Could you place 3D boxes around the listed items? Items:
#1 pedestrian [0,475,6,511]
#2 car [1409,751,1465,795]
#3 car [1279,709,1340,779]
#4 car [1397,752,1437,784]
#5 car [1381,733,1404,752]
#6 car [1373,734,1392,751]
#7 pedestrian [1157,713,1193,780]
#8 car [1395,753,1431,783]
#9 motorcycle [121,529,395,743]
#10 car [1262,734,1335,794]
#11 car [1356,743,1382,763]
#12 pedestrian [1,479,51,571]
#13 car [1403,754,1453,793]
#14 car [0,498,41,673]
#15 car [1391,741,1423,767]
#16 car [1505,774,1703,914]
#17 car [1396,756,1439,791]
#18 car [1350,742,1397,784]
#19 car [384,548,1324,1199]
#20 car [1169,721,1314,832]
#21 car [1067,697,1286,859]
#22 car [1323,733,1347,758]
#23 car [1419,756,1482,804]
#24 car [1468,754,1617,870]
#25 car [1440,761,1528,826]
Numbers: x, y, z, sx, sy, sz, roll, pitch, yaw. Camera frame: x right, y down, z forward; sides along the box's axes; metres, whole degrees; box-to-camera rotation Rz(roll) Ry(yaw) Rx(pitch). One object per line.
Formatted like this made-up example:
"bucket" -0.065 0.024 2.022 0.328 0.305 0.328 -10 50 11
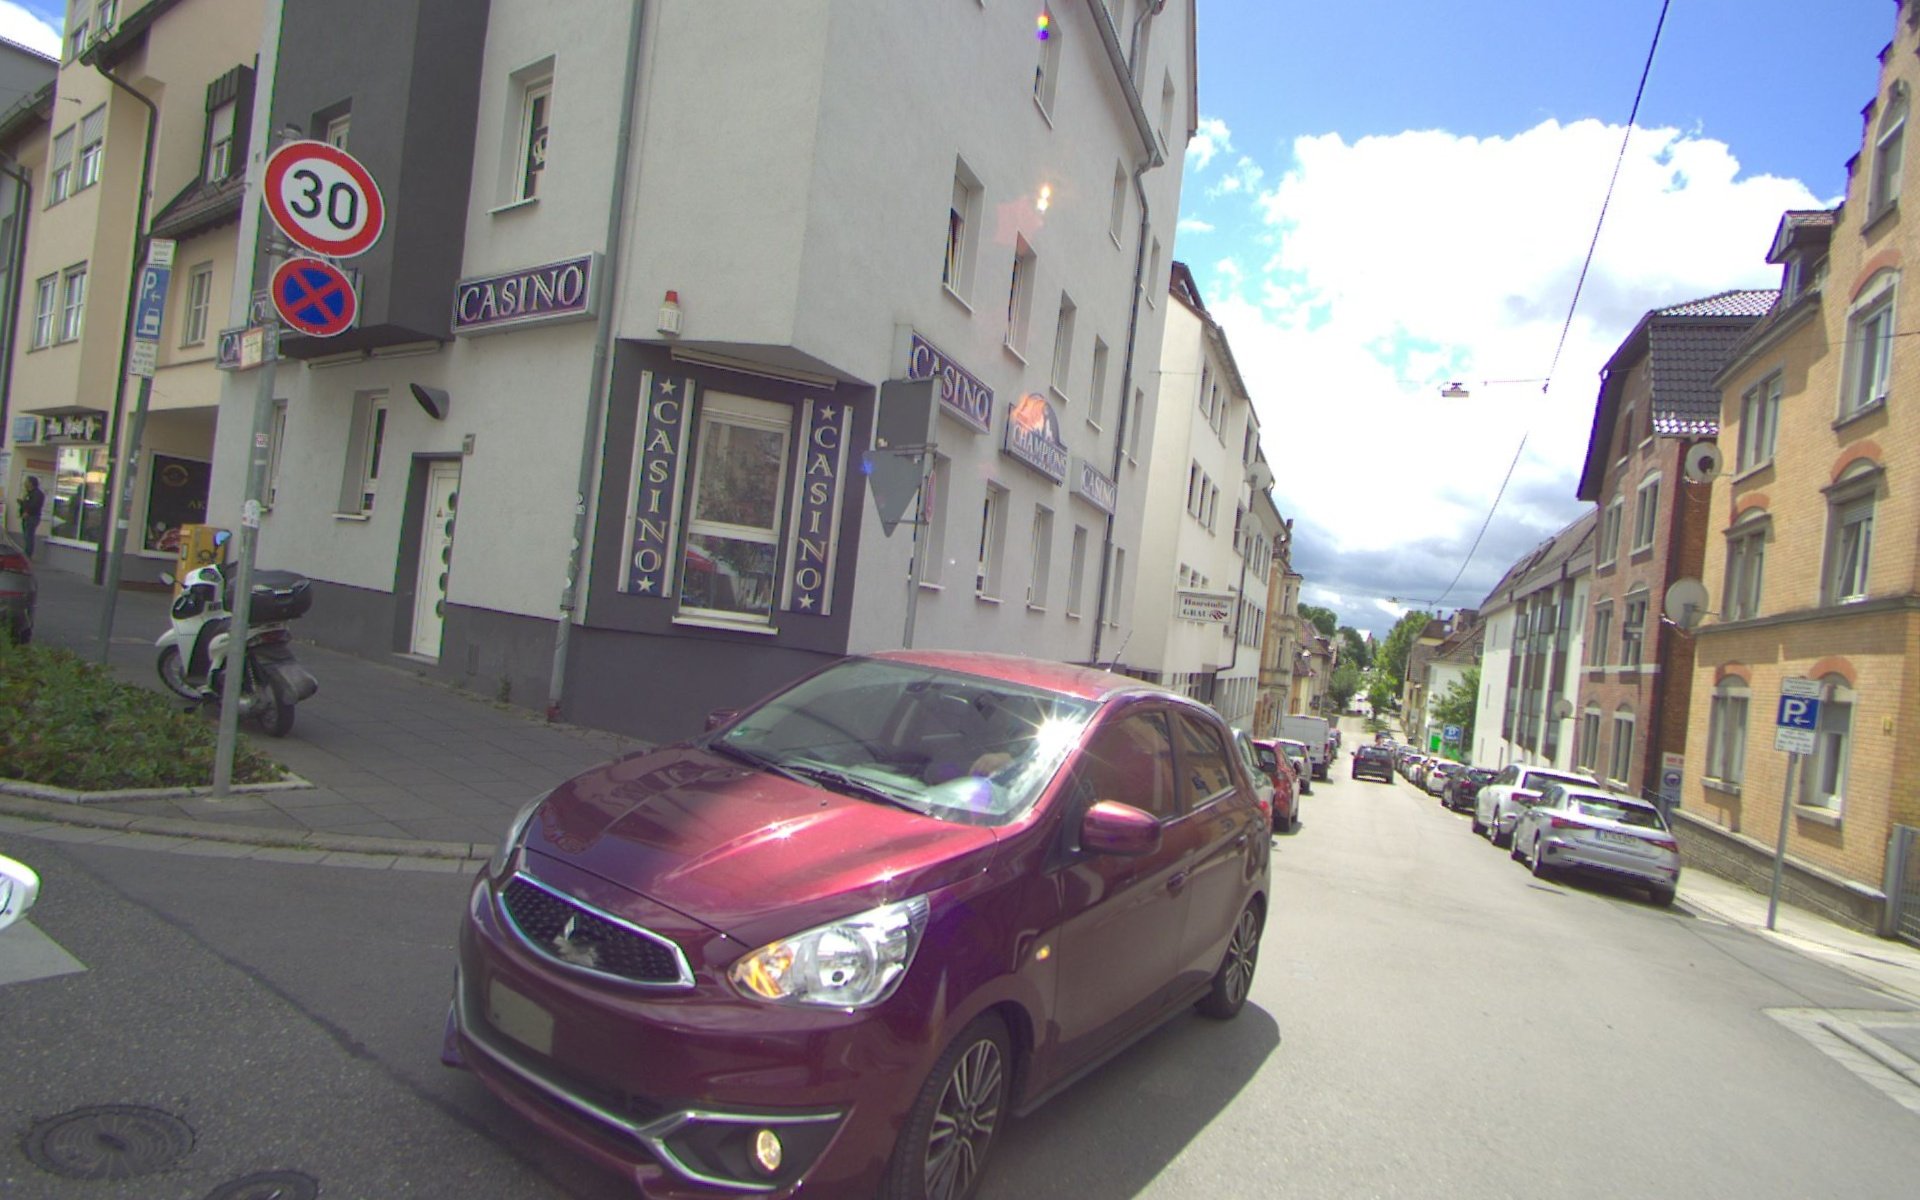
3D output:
"pedestrian" -19.186 -1.631 19.618 0.596 1.737 0.536 6 -2 34
"car" 22.021 8.021 46.571 1.816 1.552 4.411 9 -6 22
"car" 14.907 6.183 42.772 2.029 2.520 4.494 7 -7 22
"car" 28.557 10.538 62.927 1.816 1.552 4.411 9 -6 22
"car" 44.534 14.686 103.562 1.816 1.552 4.411 9 -6 22
"car" 51.336 17.353 122.252 1.816 1.552 4.411 9 -6 22
"pedestrian" 5.784 3.924 26.999 0.570 1.675 0.949 8 -3 23
"car" 30.373 11.291 67.525 1.816 1.552 4.411 9 -6 22
"motorcycle" -5.210 0.225 7.399 2.337 1.273 0.660 6 -2 32
"car" 10.343 5.010 30.564 1.815 1.411 3.849 7 -7 22
"car" 35.774 13.401 88.032 1.815 1.411 3.849 7 -7 22
"pedestrian" -18.540 -1.491 19.966 0.528 1.737 0.436 6 -2 33
"car" 23.634 8.804 50.957 1.816 1.552 4.411 9 -6 22
"car" -10.033 -0.363 9.145 4.255 1.436 1.708 6 -3 39
"car" 34.829 12.005 78.454 1.816 1.552 4.411 9 -6 22
"car" 9.779 3.633 15.603 1.816 1.412 3.898 9 -4 24
"car" 26.197 9.947 57.674 1.816 1.552 4.411 9 -6 22
"car" 19.777 7.851 48.218 1.816 1.552 4.411 9 -6 22
"car" 0.108 0.905 4.004 1.513 1.547 3.753 6 -3 34
"car" 5.005 3.070 17.506 1.816 1.411 3.848 7 -7 24
"car" 2.854 2.203 12.530 1.816 1.411 3.902 7 -7 24
"car" 39.291 15.258 105.387 2.029 2.094 4.494 7 -7 22
"car" 20.400 7.520 41.999 1.816 1.552 4.411 9 -6 22
"car" 11.881 4.306 20.802 1.816 1.770 4.411 9 -6 22
"car" 16.535 6.107 31.947 1.816 1.552 4.411 9 -6 22
